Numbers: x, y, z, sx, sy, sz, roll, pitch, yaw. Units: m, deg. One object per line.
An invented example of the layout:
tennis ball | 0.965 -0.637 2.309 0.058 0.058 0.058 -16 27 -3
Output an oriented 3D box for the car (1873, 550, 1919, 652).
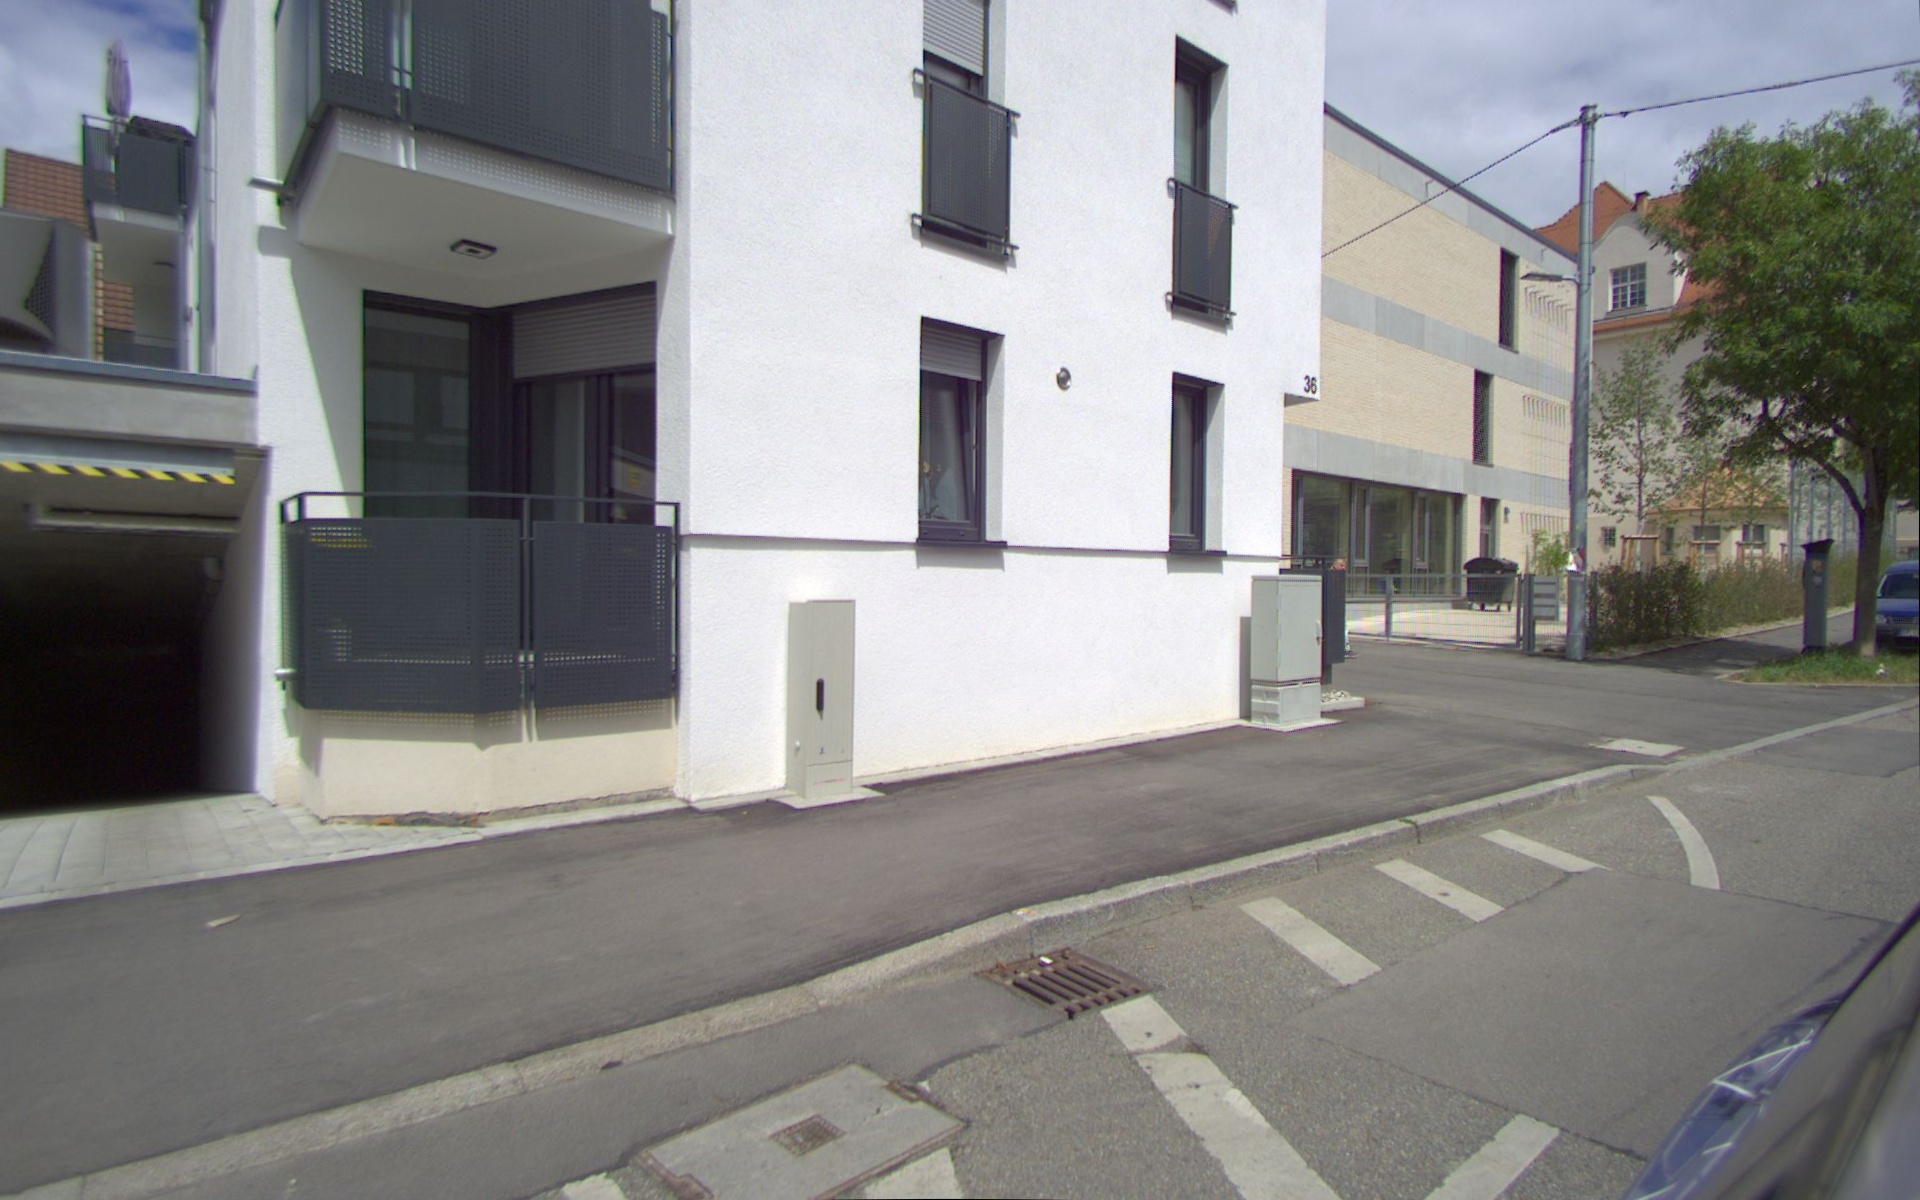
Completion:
car | 18.353 -0.044 18.655 4.087 1.764 1.698 -2 3 -40

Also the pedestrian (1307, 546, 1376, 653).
pedestrian | 6.356 -0.021 16.855 0.815 1.724 0.774 -2 1 -41

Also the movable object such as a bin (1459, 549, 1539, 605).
movable object such as a bin | 14.673 -0.631 27.539 1.775 1.465 1.351 -2 1 -39
